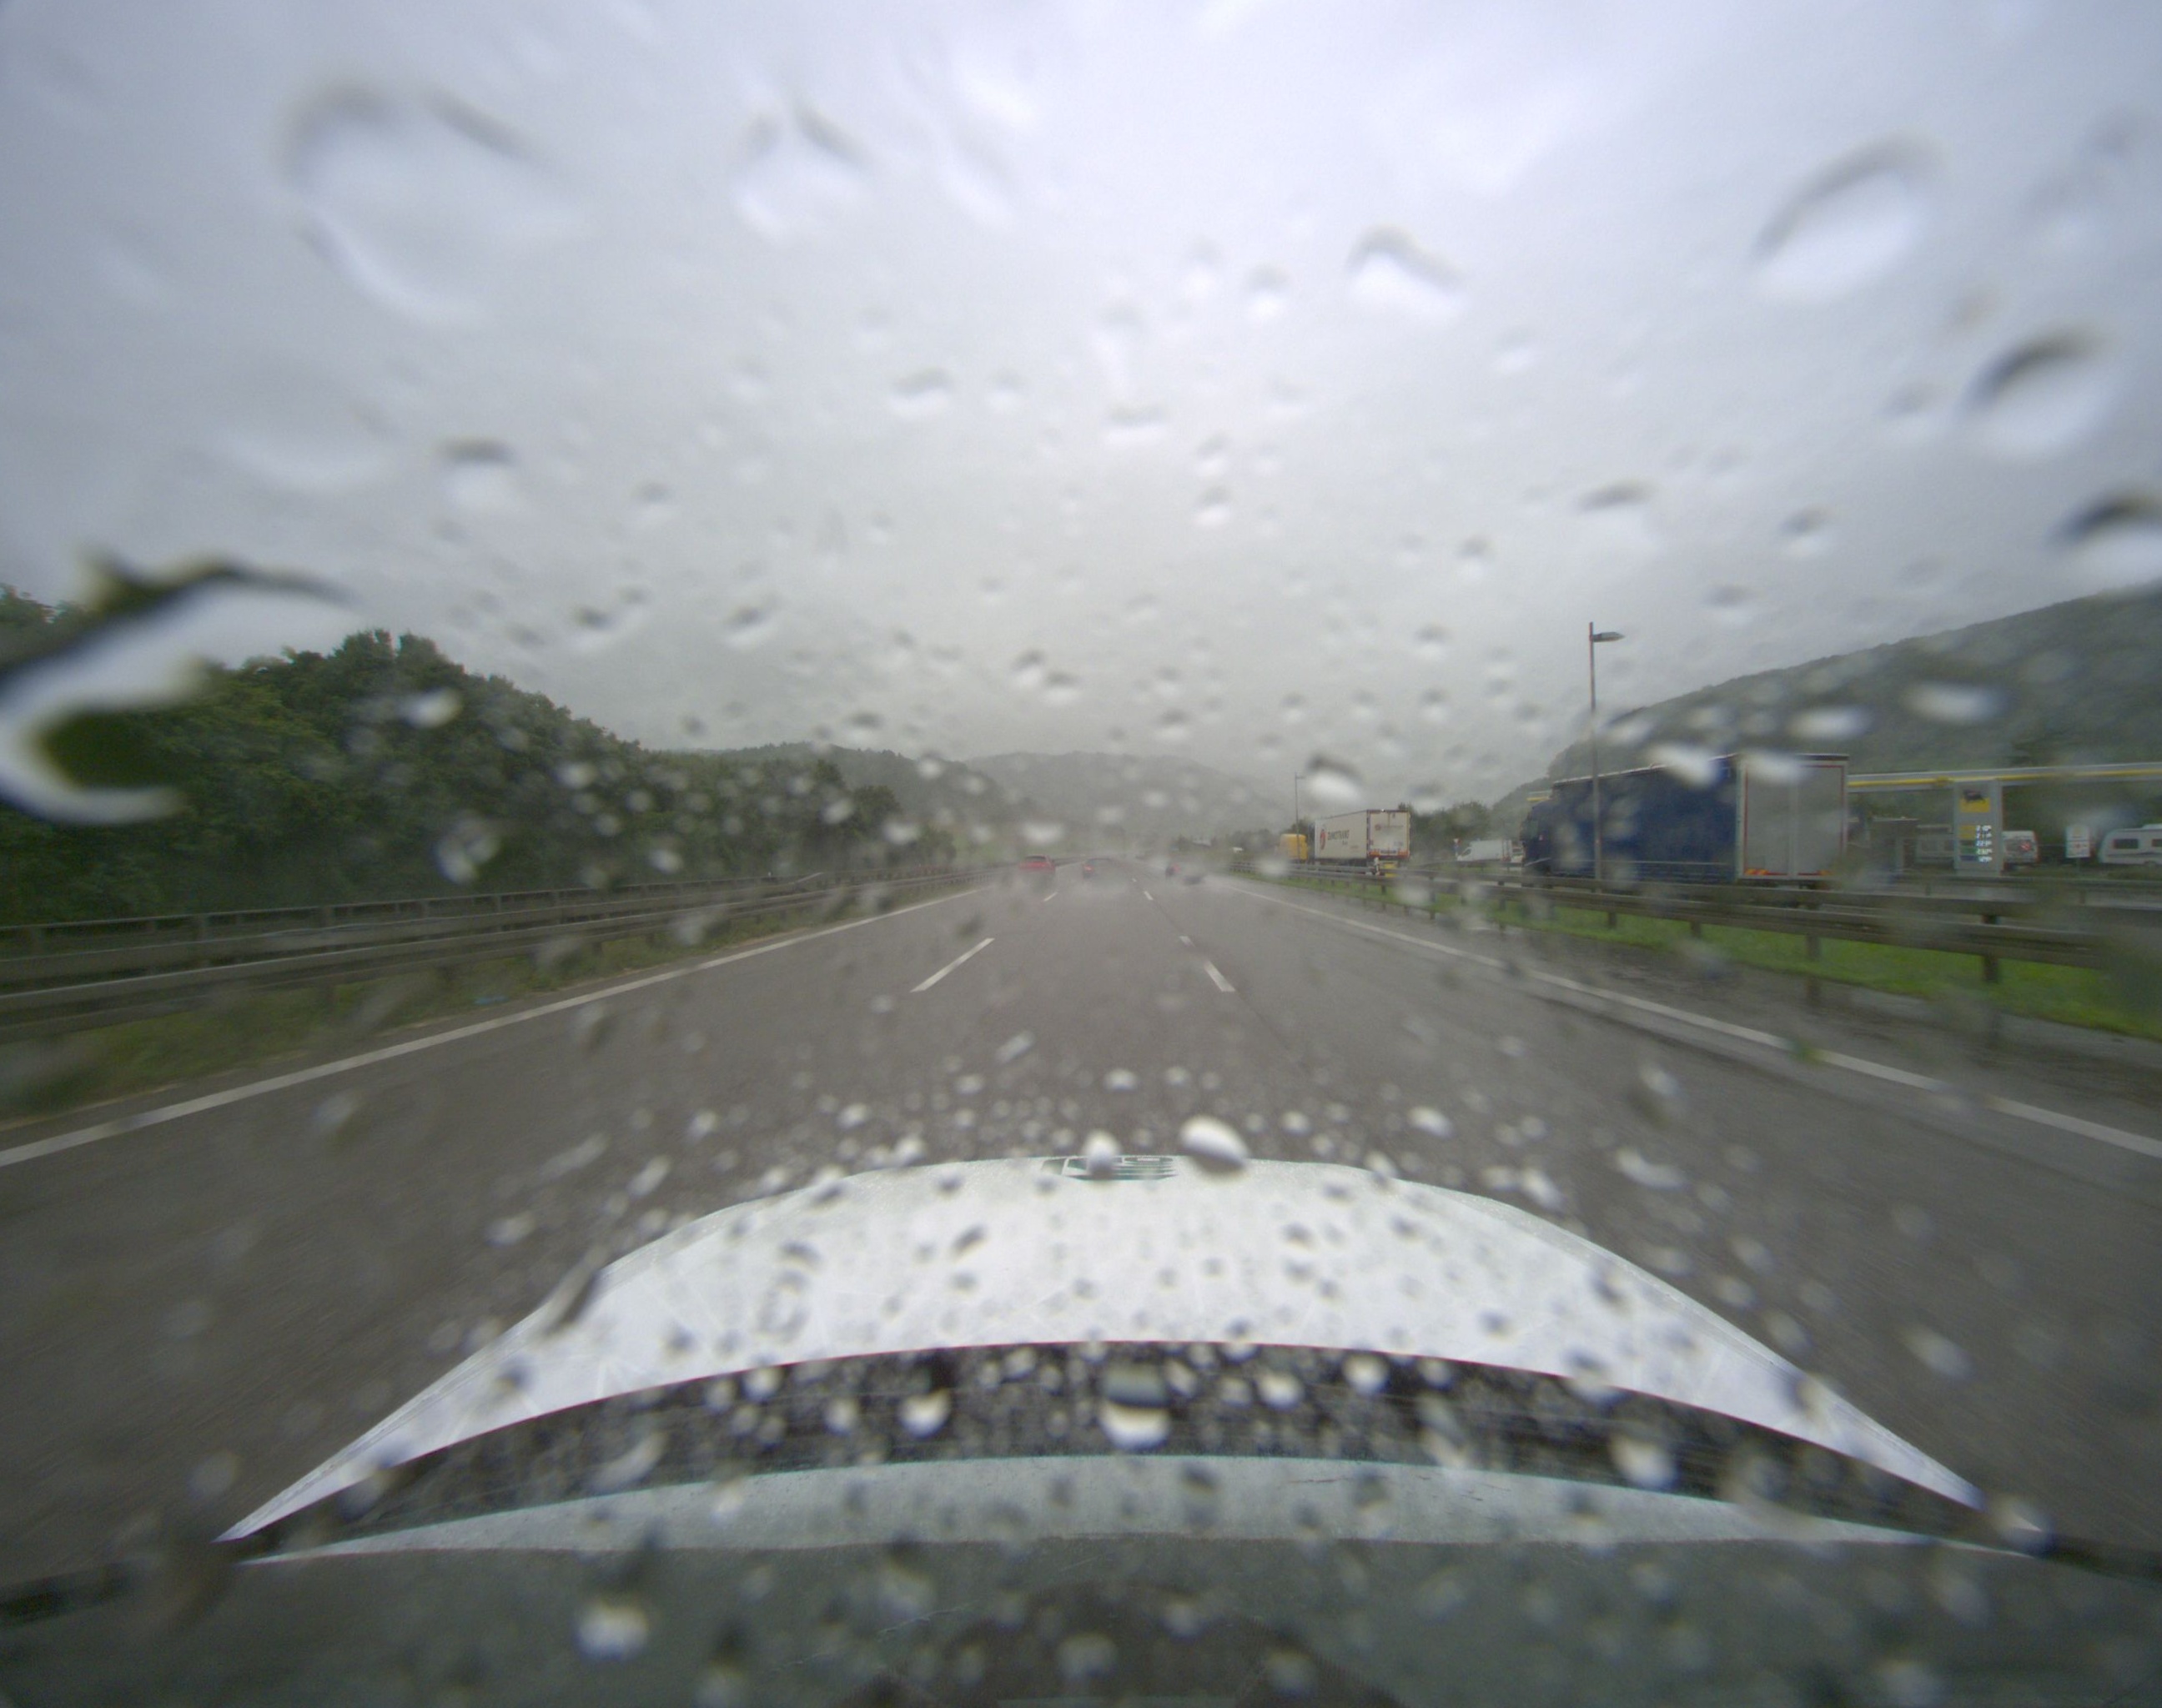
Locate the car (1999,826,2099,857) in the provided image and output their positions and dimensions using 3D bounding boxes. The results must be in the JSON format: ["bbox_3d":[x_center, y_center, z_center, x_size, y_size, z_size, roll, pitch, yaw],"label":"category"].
[{"bbox_3d":[64.824,-0.775,54.645,1.986,2.014,4.001,0,0,2],"label":"car"}]

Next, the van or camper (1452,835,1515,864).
[{"bbox_3d":[43.931,-0.459,89.030,2.007,3.059,6.110,0,0,-32],"label":"van or camper"}]

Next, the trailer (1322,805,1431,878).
[{"bbox_3d":[19.059,-0.679,53.634,3.501,4.261,11.930,0,0,3],"label":"trailer"}]

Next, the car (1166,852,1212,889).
[{"bbox_3d":[5.418,0.781,41.260,1.964,1.760,4.003,-1,0,3],"label":"car"}]

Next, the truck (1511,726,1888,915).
[{"bbox_3d":[17.319,-0.808,24.486,3.387,4.402,11.057,0,0,3],"label":"truck"}]

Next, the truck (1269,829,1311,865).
[{"bbox_3d":[19.616,-0.594,76.901,2.281,3.147,8.873,0,0,4],"label":"truck"}]

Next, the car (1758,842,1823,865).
[{"bbox_3d":[63.102,-0.060,72.508,1.994,2.013,3.985,1,0,-11],"label":"car"}]

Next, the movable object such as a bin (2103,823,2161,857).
[{"bbox_3d":[65.148,-0.805,48.380,2.158,2.014,5.385,0,0,2],"label":"movable object such as a bin"}]

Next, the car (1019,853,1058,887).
[{"bbox_3d":[-2.398,0.880,46.835,1.877,1.816,4.002,-1,0,2],"label":"car"}]

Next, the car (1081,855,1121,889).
[{"bbox_3d":[1.020,0.863,40.204,1.852,1.589,4.003,0,0,3],"label":"car"}]

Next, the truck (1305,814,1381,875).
[{"bbox_3d":[19.426,-0.651,60.887,3.513,4.220,7.822,0,0,3],"label":"truck"}]

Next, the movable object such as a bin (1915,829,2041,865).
[{"bbox_3d":[57.963,-0.404,52.809,1.986,2.189,5.726,0,0,2],"label":"movable object such as a bin"}]

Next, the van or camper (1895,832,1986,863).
[{"bbox_3d":[57.992,-0.397,55.031,1.986,2.014,4.002,0,0,2],"label":"van or camper"}]
